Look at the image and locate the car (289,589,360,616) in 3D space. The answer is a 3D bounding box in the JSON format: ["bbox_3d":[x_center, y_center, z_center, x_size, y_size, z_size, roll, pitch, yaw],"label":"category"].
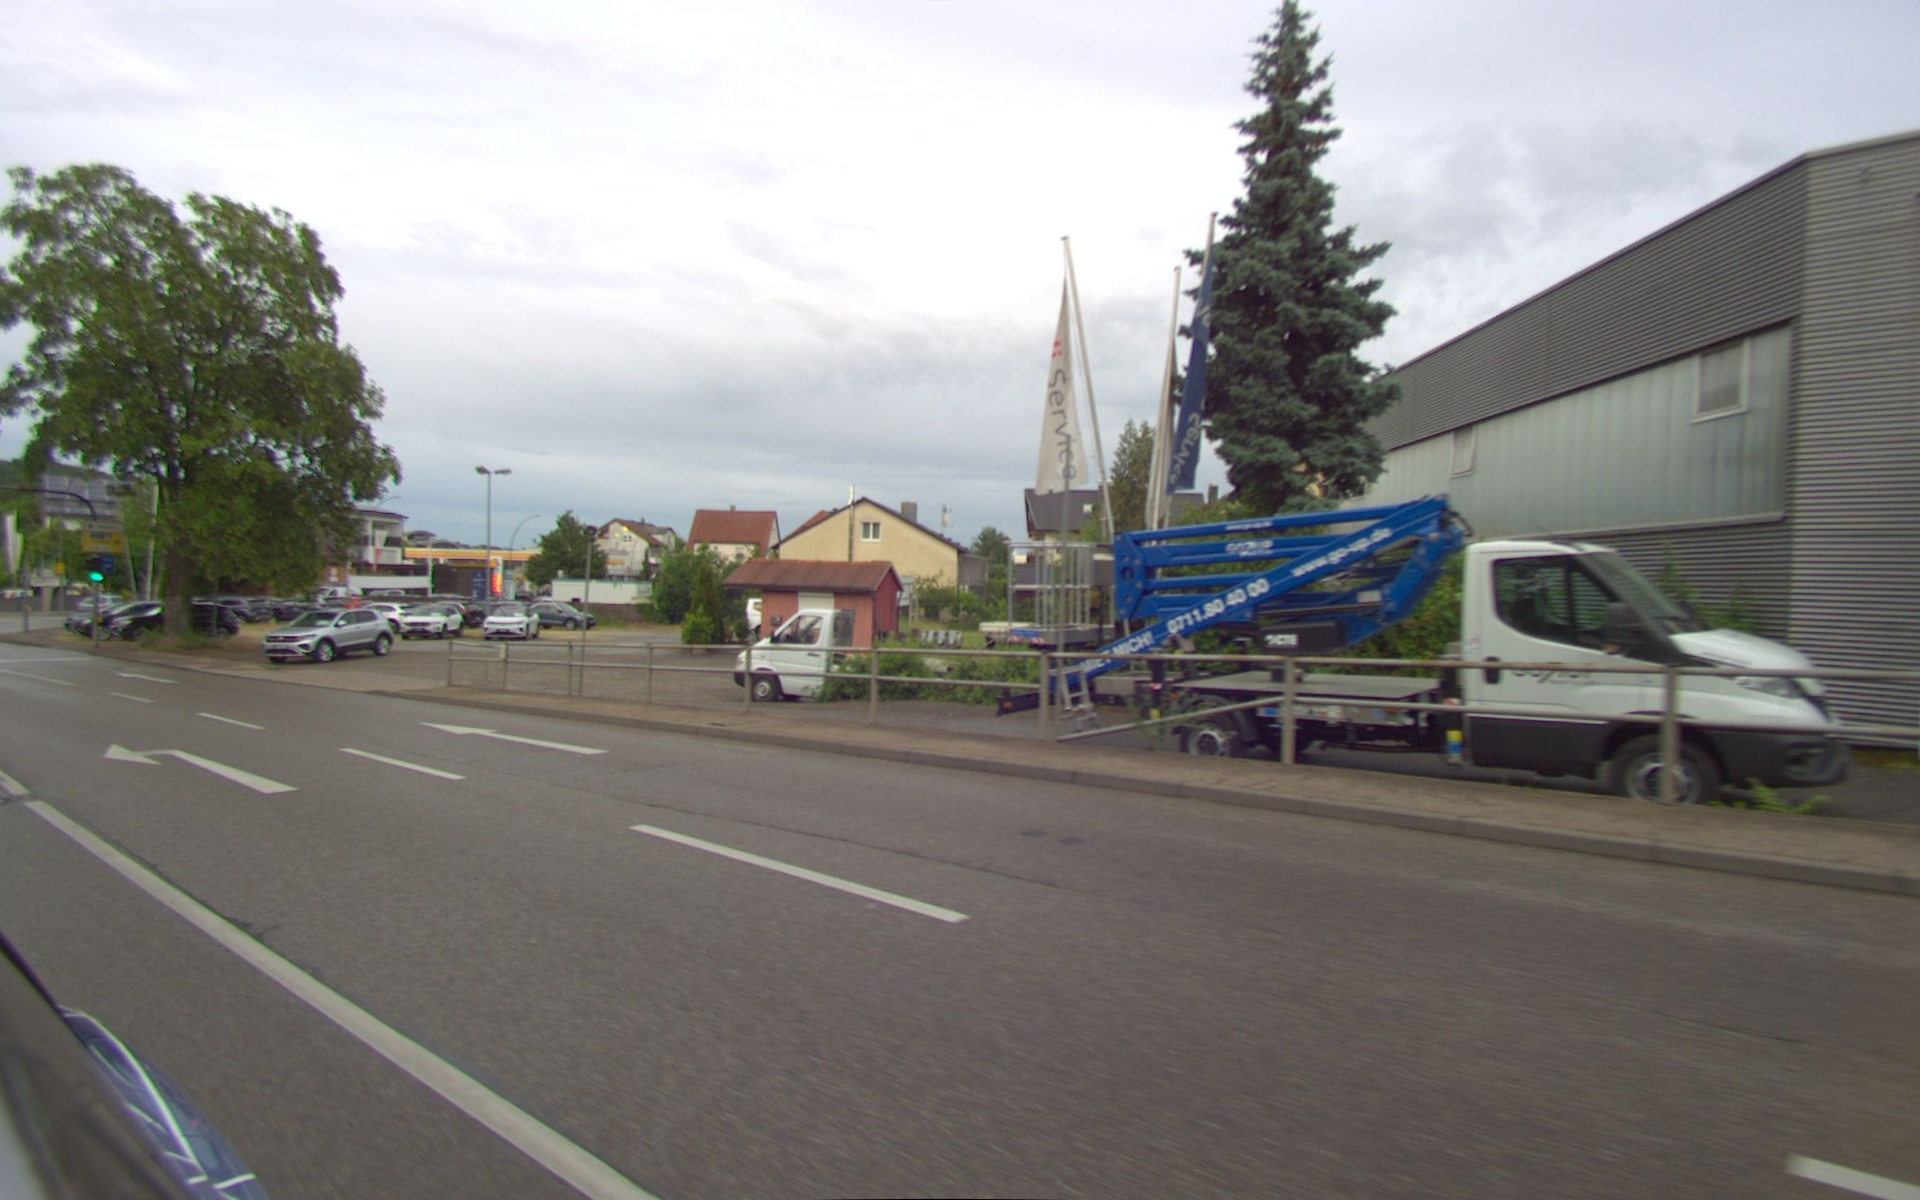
[{"bbox_3d":[-51.401,0.228,81.976,2.028,2.102,5.245,1,-1,6],"label":"car"}]

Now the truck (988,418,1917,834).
[{"bbox_3d":[3.860,0.310,9.902,7.893,2.653,1.971,-3,-3,44],"label":"truck"}]

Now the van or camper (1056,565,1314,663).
[{"bbox_3d":[7.303,0.429,33.693,8.010,2.916,2.476,-1,3,3],"label":"van or camper"}]

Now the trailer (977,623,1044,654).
[{"bbox_3d":[2.032,1.456,39.231,2.078,1.036,4.857,1,-1,10],"label":"trailer"}]

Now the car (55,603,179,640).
[{"bbox_3d":[-36.877,0.929,44.413,4.092,1.521,1.676,1,0,-37],"label":"car"}]

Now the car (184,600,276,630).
[{"bbox_3d":[-39.071,0.799,54.205,3.719,1.562,1.594,1,0,-3],"label":"car"}]

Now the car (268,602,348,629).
[{"bbox_3d":[-38.923,0.935,60.461,3.719,1.562,1.594,1,0,-3],"label":"car"}]

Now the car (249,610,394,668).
[{"bbox_3d":[-19.912,1.171,31.785,1.700,1.582,3.999,0,1,7],"label":"car"}]

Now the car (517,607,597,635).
[{"bbox_3d":[-23.585,1.200,59.302,3.999,1.566,1.785,1,0,10],"label":"car"}]

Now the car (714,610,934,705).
[{"bbox_3d":[-2.826,1.157,21.537,4.236,1.885,2.057,0,-1,11],"label":"car"}]

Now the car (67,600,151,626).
[{"bbox_3d":[-47.863,0.733,57.008,1.626,1.391,3.704,1,-1,-2],"label":"car"}]

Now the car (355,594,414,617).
[{"bbox_3d":[-50.541,0.488,88.951,2.028,1.878,4.912,1,-1,6],"label":"car"}]

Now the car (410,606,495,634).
[{"bbox_3d":[-28.886,1.125,57.614,3.994,1.463,1.787,1,0,6],"label":"car"}]

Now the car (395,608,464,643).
[{"bbox_3d":[-24.494,1.167,46.871,1.761,1.521,4.053,1,0,-12],"label":"car"}]

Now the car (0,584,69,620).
[{"bbox_3d":[-62.830,0.126,68.148,4.333,2.120,1.766,3,1,8],"label":"car"}]

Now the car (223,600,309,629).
[{"bbox_3d":[-39.193,0.812,57.231,3.719,1.562,1.594,1,0,-3],"label":"car"}]

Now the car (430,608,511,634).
[{"bbox_3d":[-29.074,1.216,60.178,3.994,1.463,1.787,1,0,6],"label":"car"}]

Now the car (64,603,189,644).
[{"bbox_3d":[-33.742,0.946,41.040,1.672,1.579,3.716,0,-1,43],"label":"car"}]

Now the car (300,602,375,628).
[{"bbox_3d":[-38.998,0.925,63.462,3.719,1.562,1.594,1,0,-3],"label":"car"}]

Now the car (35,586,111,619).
[{"bbox_3d":[-64.330,0.152,73.414,4.172,2.120,1.767,3,1,6],"label":"car"}]

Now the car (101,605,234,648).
[{"bbox_3d":[-31.078,1.018,39.780,1.671,1.579,3.844,0,-1,40],"label":"car"}]

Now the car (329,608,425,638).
[{"bbox_3d":[-29.861,1.164,51.869,3.994,1.463,1.787,1,0,6],"label":"car"}]

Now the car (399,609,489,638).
[{"bbox_3d":[-27.730,1.265,54.441,3.994,1.463,1.787,1,0,6],"label":"car"}]

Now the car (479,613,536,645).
[{"bbox_3d":[-21.153,1.316,47.443,1.799,1.426,4.021,1,-1,-15],"label":"car"}]

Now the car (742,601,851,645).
[{"bbox_3d":[-7.683,1.078,47.877,4.807,2.003,1.959,1,-1,3],"label":"car"}]
